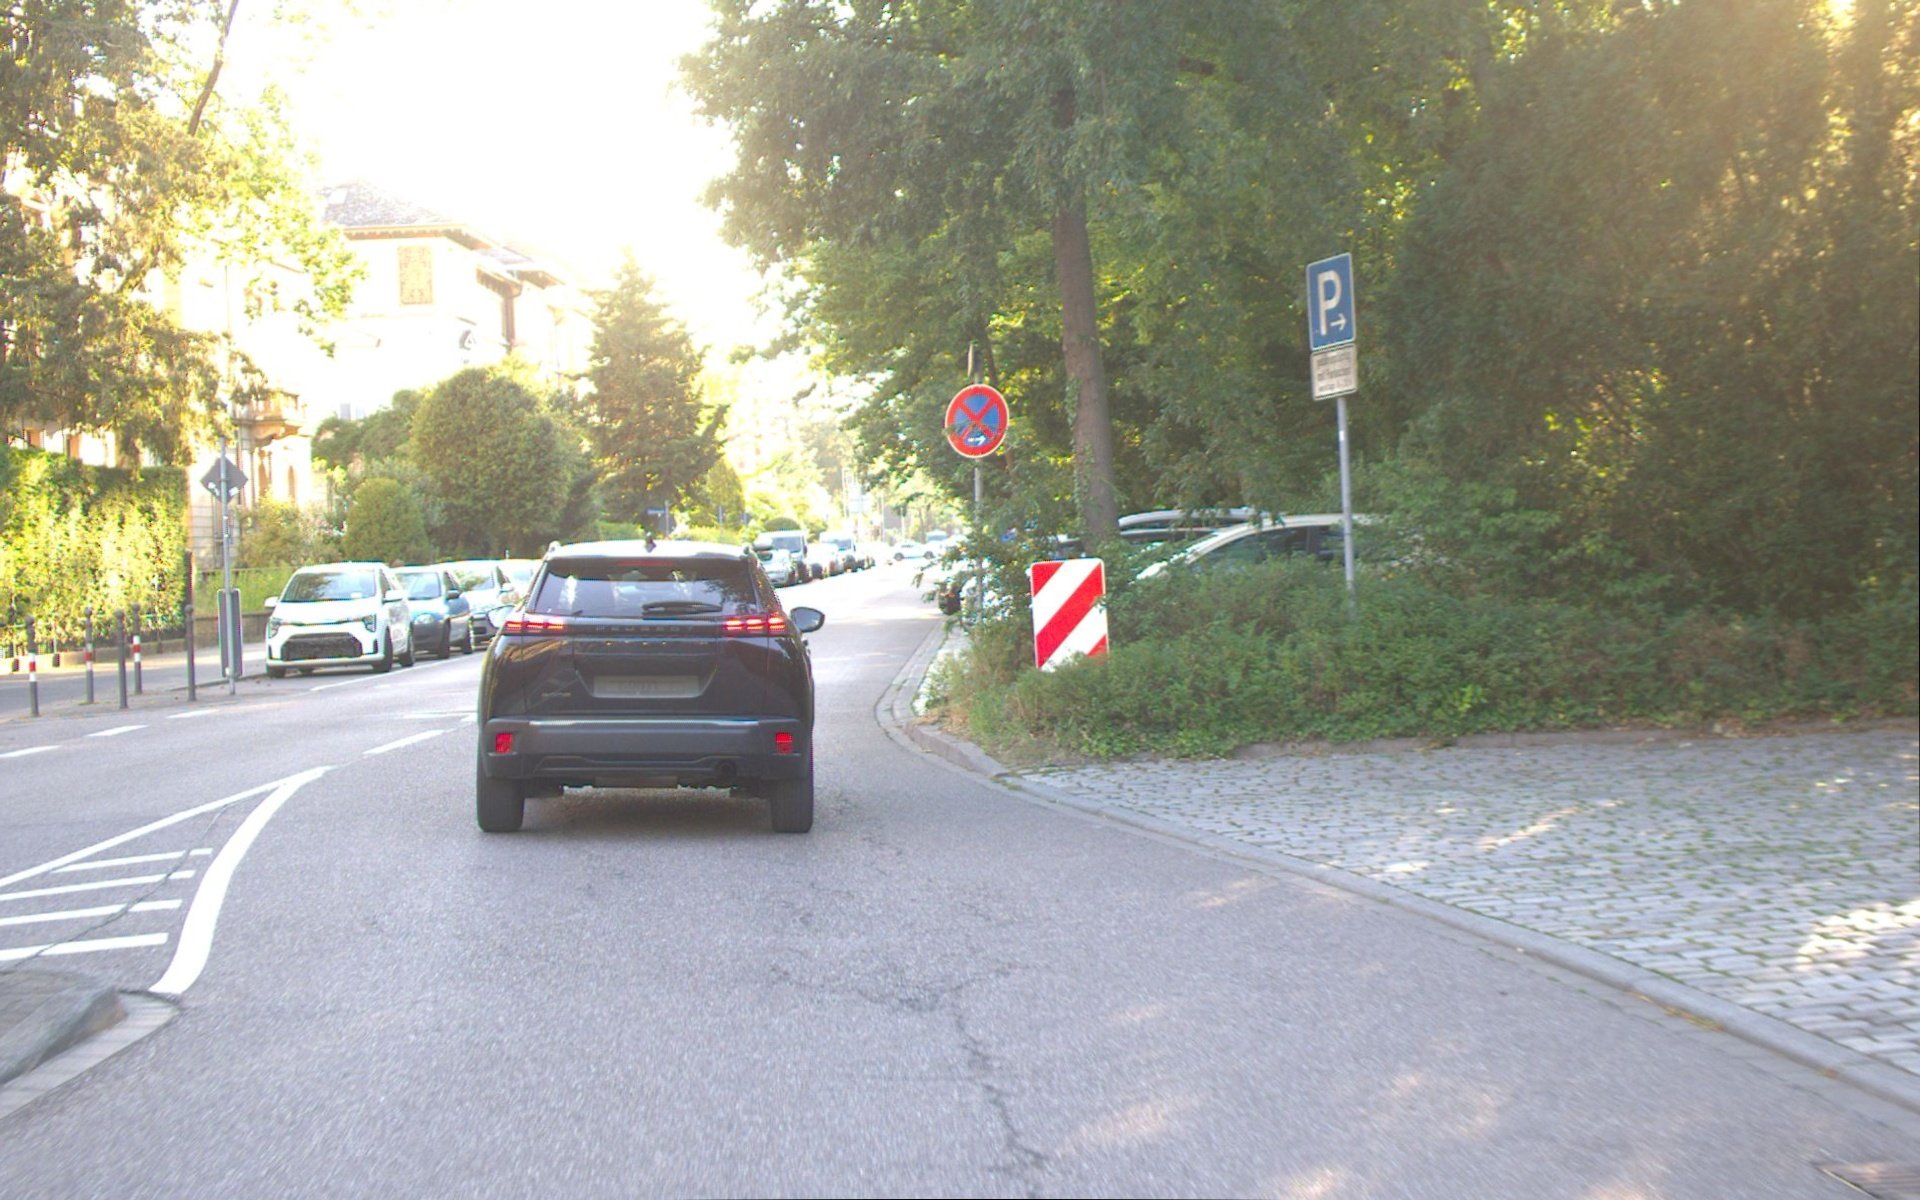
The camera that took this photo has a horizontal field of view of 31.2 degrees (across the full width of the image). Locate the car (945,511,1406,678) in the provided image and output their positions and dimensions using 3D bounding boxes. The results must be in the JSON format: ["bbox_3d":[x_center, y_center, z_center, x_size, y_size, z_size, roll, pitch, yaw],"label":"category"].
[{"bbox_3d":[2.265,-0.087,36.486,4.483,1.549,1.857,-2,2,-14],"label":"car"}]

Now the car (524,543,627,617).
[{"bbox_3d":[-8.171,-0.451,73.309,1.613,1.461,4.036,-2,1,1],"label":"car"}]

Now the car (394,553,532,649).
[{"bbox_3d":[-8.255,-0.012,57.408,1.613,1.461,4.036,-2,1,1],"label":"car"}]

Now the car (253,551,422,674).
[{"bbox_3d":[-8.463,0.133,47.012,1.613,1.510,3.712,-4,1,-1],"label":"car"}]

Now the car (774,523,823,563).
[{"bbox_3d":[-7.377,-2.596,157.477,1.993,1.762,4.000,-2,1,0],"label":"car"}]

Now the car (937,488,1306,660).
[{"bbox_3d":[1.927,-0.325,42.044,4.307,1.798,2.036,-3,1,0],"label":"car"}]

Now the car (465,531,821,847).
[{"bbox_3d":[-1.800,0.410,19.356,1.771,1.563,4.110,0,1,-6],"label":"car"}]

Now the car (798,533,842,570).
[{"bbox_3d":[-7.051,-2.449,173.261,1.993,1.809,4.000,-2,1,0],"label":"car"}]

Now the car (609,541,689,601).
[{"bbox_3d":[-8.099,-0.780,89.759,1.752,1.409,3.765,-4,1,-1],"label":"car"}]

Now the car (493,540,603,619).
[{"bbox_3d":[-8.203,-0.422,68.702,1.613,1.461,4.036,-2,1,1],"label":"car"}]

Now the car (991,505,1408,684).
[{"bbox_3d":[2.330,-0.078,34.242,3.987,1.549,1.752,-2,2,1],"label":"car"}]

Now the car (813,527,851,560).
[{"bbox_3d":[-7.305,-3.240,196.393,1.993,1.809,4.000,-2,1,0],"label":"car"}]

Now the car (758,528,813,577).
[{"bbox_3d":[-7.366,-2.023,145.609,1.993,2.007,4.000,-2,1,2],"label":"car"}]

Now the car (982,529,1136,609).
[{"bbox_3d":[2.701,-0.855,94.275,3.986,2.082,1.758,-2,1,-4],"label":"car"}]

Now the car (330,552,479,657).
[{"bbox_3d":[-8.467,0.039,52.656,1.613,1.480,3.742,-2,1,0],"label":"car"}]

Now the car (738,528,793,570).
[{"bbox_3d":[-7.612,-1.995,135.081,1.899,1.568,4.000,-2,1,0],"label":"car"}]

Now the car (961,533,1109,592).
[{"bbox_3d":[2.104,-1.066,96.870,3.986,1.520,1.758,-2,1,-4],"label":"car"}]

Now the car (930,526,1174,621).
[{"bbox_3d":[1.639,-0.493,62.290,4.242,1.444,2.022,-3,1,-1],"label":"car"}]

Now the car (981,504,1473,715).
[{"bbox_3d":[2.206,0.055,29.144,3.987,1.549,1.726,-2,2,1],"label":"car"}]

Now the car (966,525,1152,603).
[{"bbox_3d":[2.129,-0.778,74.531,3.807,1.444,1.826,-3,1,-3],"label":"car"}]
